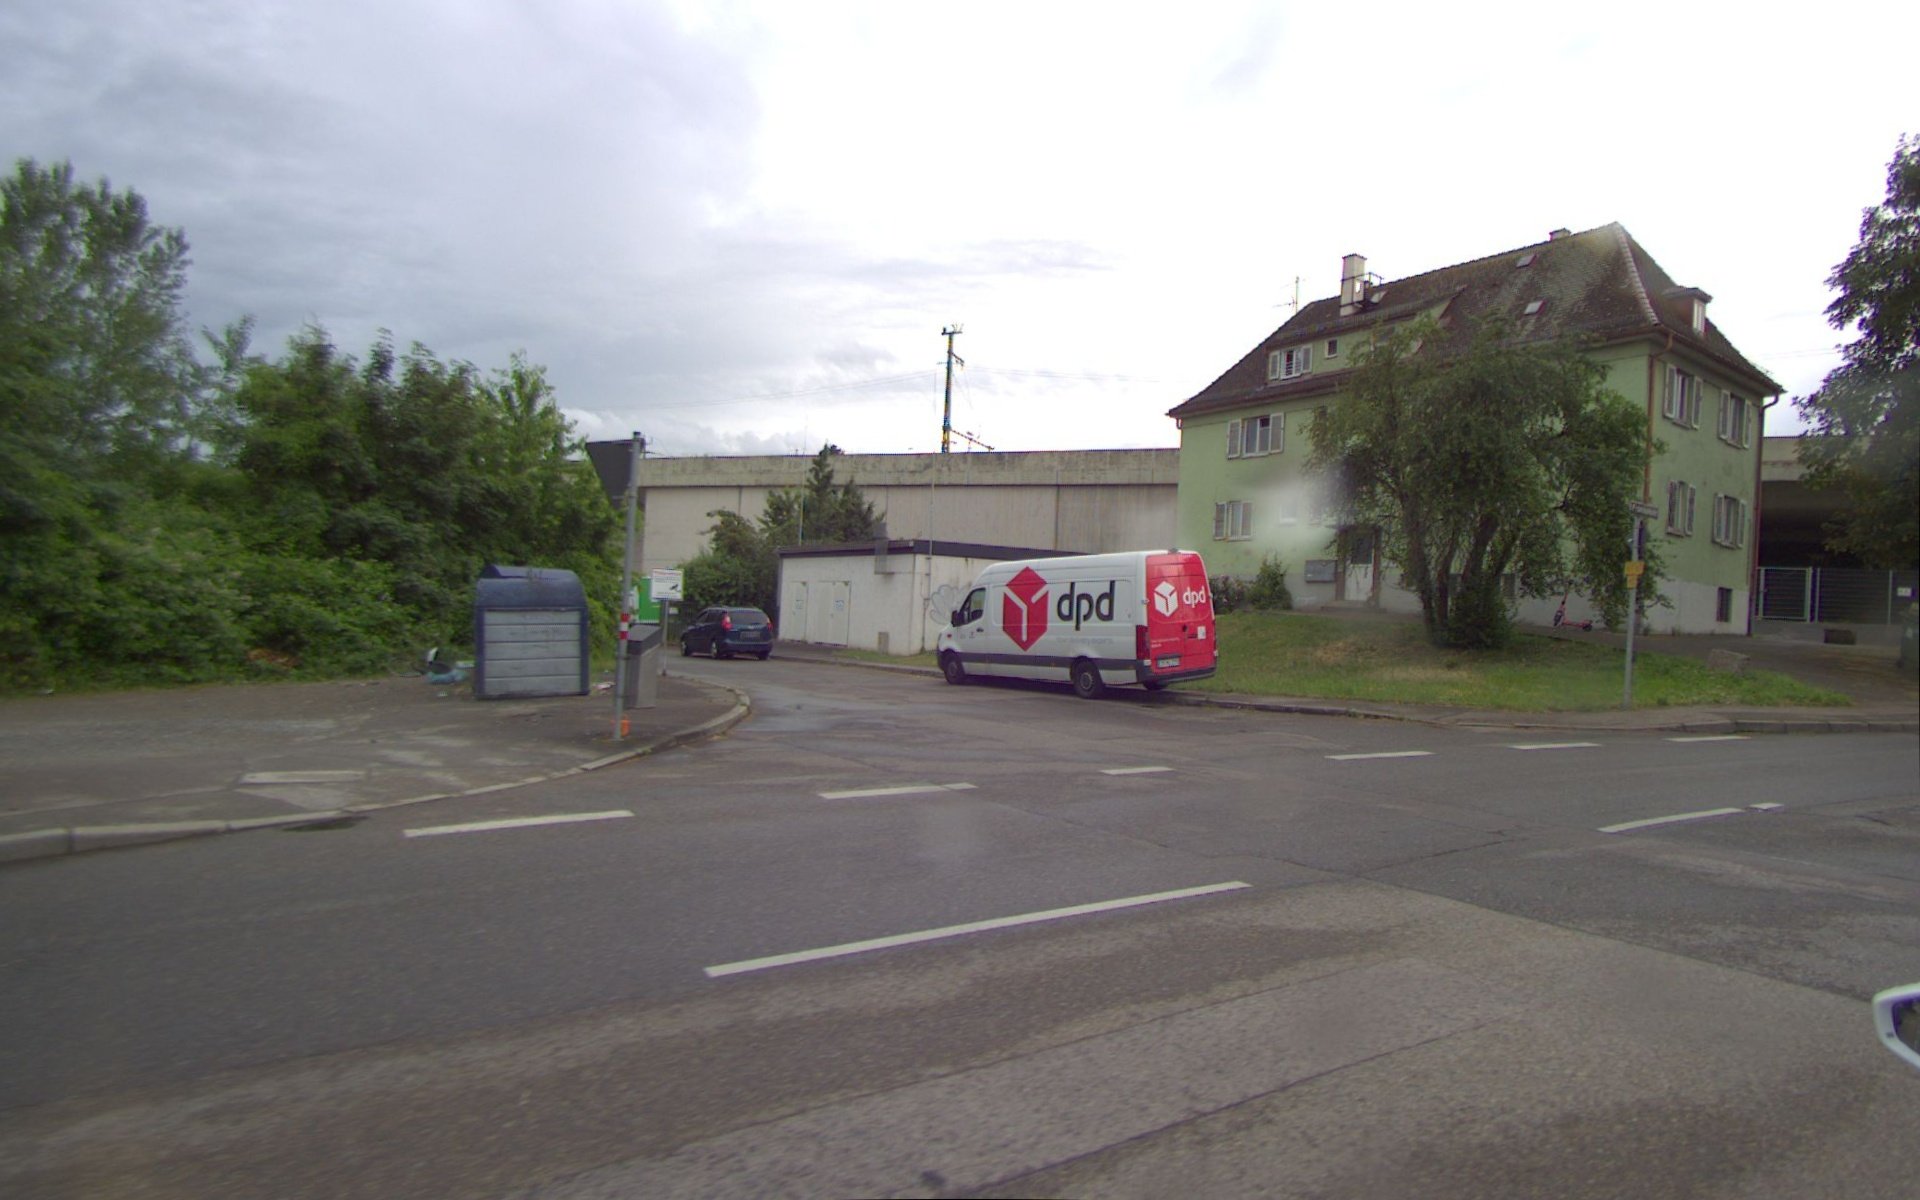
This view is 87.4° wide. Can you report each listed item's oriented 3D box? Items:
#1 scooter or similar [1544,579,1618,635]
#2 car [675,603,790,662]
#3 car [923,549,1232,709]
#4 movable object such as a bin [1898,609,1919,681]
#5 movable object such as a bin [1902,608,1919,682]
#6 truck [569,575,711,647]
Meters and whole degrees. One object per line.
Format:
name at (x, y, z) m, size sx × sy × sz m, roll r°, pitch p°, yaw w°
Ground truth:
scooter or similar at (15.766, 0.160, 25.526) m, size 0.522 × 1.291 × 1.518 m, roll 2°, pitch 4°, yaw -20°
car at (-7.317, 0.996, 32.000) m, size 1.982 × 1.651 × 4.206 m, roll 2°, pitch 0°, yaw -38°
car at (2.045, 0.469, 20.237) m, size 2.241 × 2.691 × 6.756 m, roll 2°, pitch 0°, yaw -35°
movable object such as a bin at (21.436, 1.018, 21.808) m, size 1.080 × 1.458 × 1.460 m, roll 4°, pitch 7°, yaw 27°
movable object such as a bin at (20.547, 0.994, 20.634) m, size 1.270 × 1.458 × 1.460 m, roll 4°, pitch 7°, yaw 27°
truck at (-17.873, 0.629, 56.554) m, size 2.364 × 3.748 × 7.578 m, roll 2°, pitch 0°, yaw 37°
